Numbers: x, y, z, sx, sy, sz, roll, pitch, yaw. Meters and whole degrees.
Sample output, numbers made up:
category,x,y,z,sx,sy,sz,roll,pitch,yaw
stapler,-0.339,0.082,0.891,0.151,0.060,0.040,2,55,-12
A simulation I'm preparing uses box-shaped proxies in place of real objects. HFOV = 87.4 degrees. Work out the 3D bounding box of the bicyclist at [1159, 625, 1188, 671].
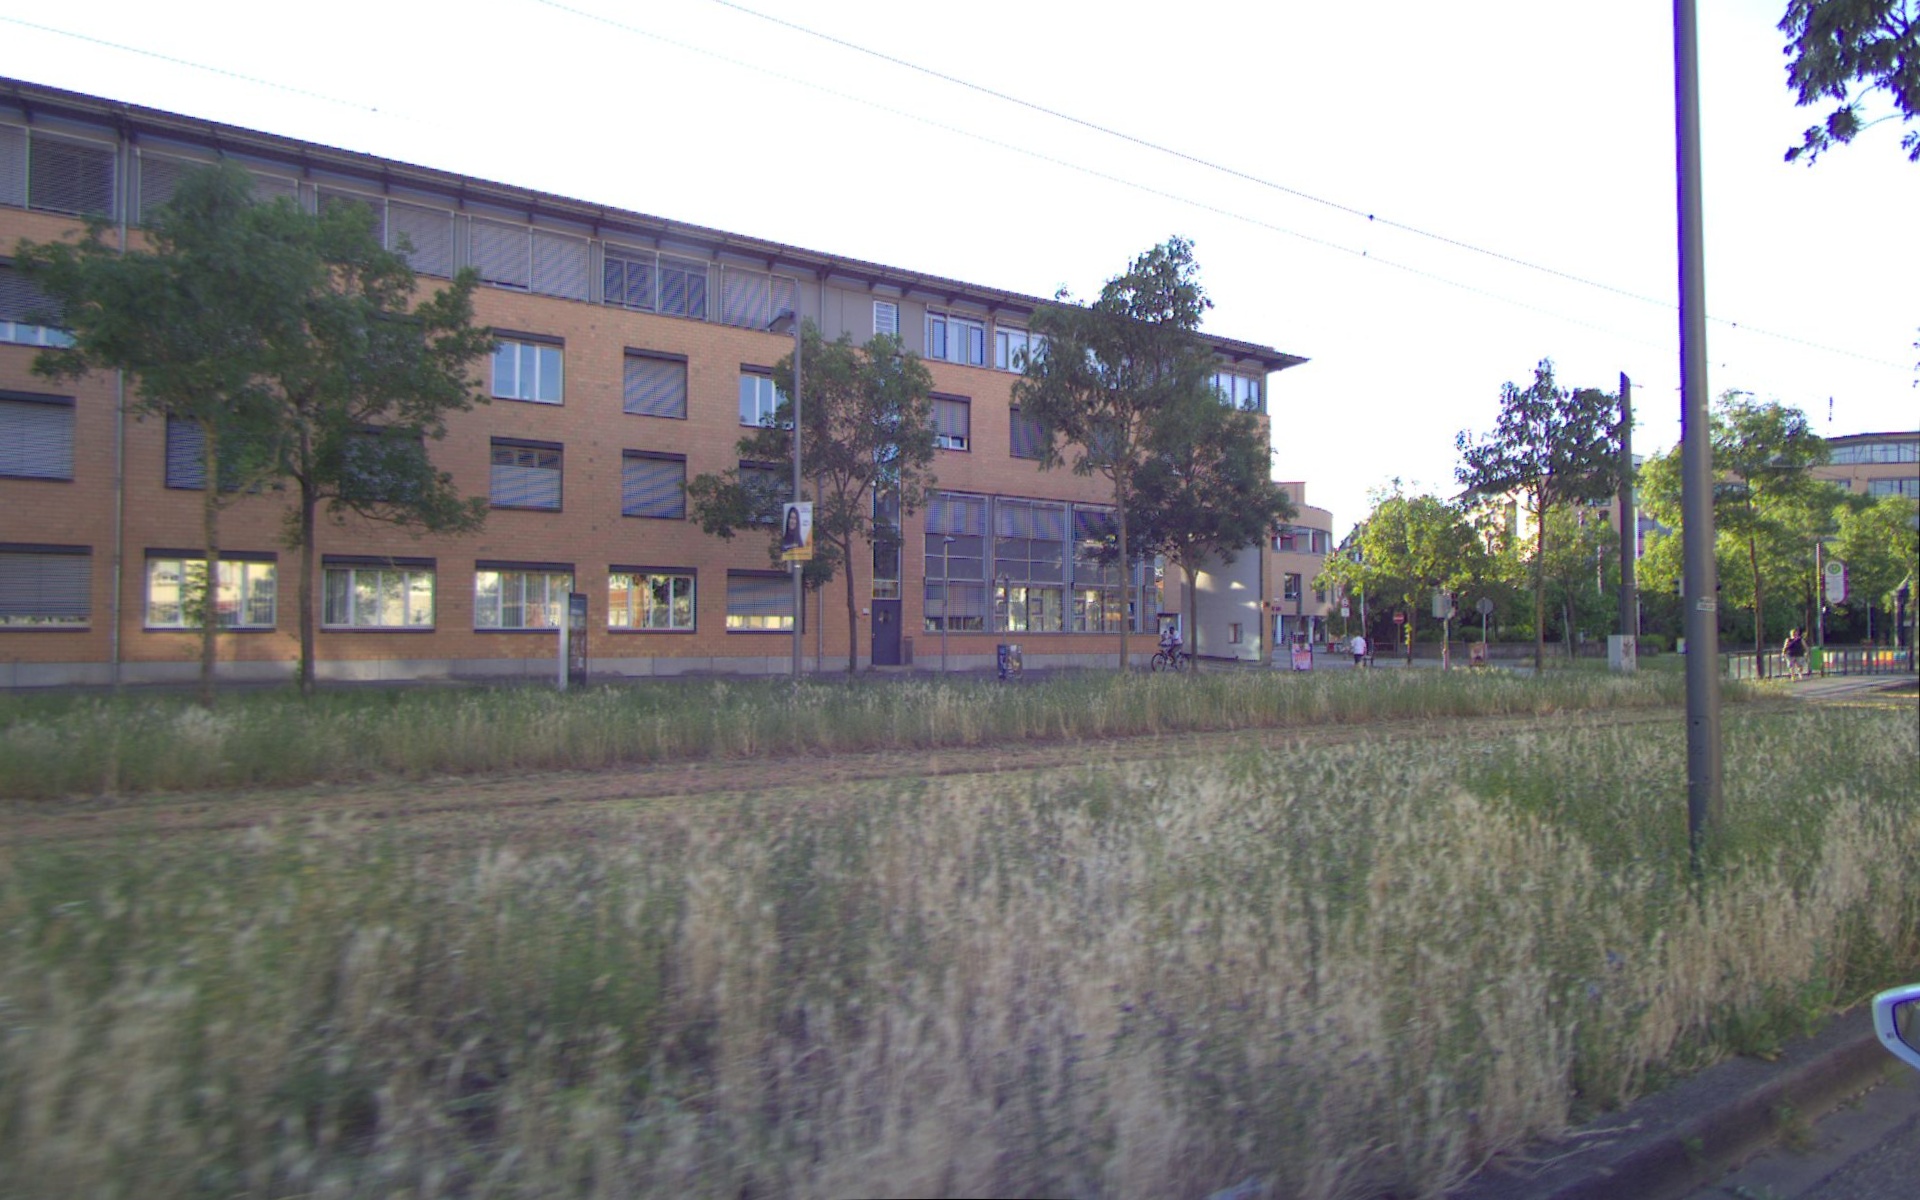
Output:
category,x,y,z,sx,sy,sz,roll,pitch,yaw
bicyclist,8.112,1.814,38.181,0.816,1.696,0.692,1,-1,-30

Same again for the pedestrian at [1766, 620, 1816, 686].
category,x,y,z,sx,sy,sz,roll,pitch,yaw
pedestrian,26.213,1.656,31.680,0.946,2.040,0.930,1,-2,-30

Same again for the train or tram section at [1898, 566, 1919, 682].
category,x,y,z,sx,sy,sz,roll,pitch,yaw
train or tram section,35.880,0.853,32.927,14.851,3.475,3.415,1,-2,-30

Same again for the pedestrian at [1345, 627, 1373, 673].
category,x,y,z,sx,sy,sz,roll,pitch,yaw
pedestrian,15.040,1.874,37.877,0.822,1.720,0.683,1,-2,-38

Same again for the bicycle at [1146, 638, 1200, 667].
category,x,y,z,sx,sy,sz,roll,pitch,yaw
bicycle,8.097,1.986,38.183,2.069,1.066,0.706,1,-2,-30
